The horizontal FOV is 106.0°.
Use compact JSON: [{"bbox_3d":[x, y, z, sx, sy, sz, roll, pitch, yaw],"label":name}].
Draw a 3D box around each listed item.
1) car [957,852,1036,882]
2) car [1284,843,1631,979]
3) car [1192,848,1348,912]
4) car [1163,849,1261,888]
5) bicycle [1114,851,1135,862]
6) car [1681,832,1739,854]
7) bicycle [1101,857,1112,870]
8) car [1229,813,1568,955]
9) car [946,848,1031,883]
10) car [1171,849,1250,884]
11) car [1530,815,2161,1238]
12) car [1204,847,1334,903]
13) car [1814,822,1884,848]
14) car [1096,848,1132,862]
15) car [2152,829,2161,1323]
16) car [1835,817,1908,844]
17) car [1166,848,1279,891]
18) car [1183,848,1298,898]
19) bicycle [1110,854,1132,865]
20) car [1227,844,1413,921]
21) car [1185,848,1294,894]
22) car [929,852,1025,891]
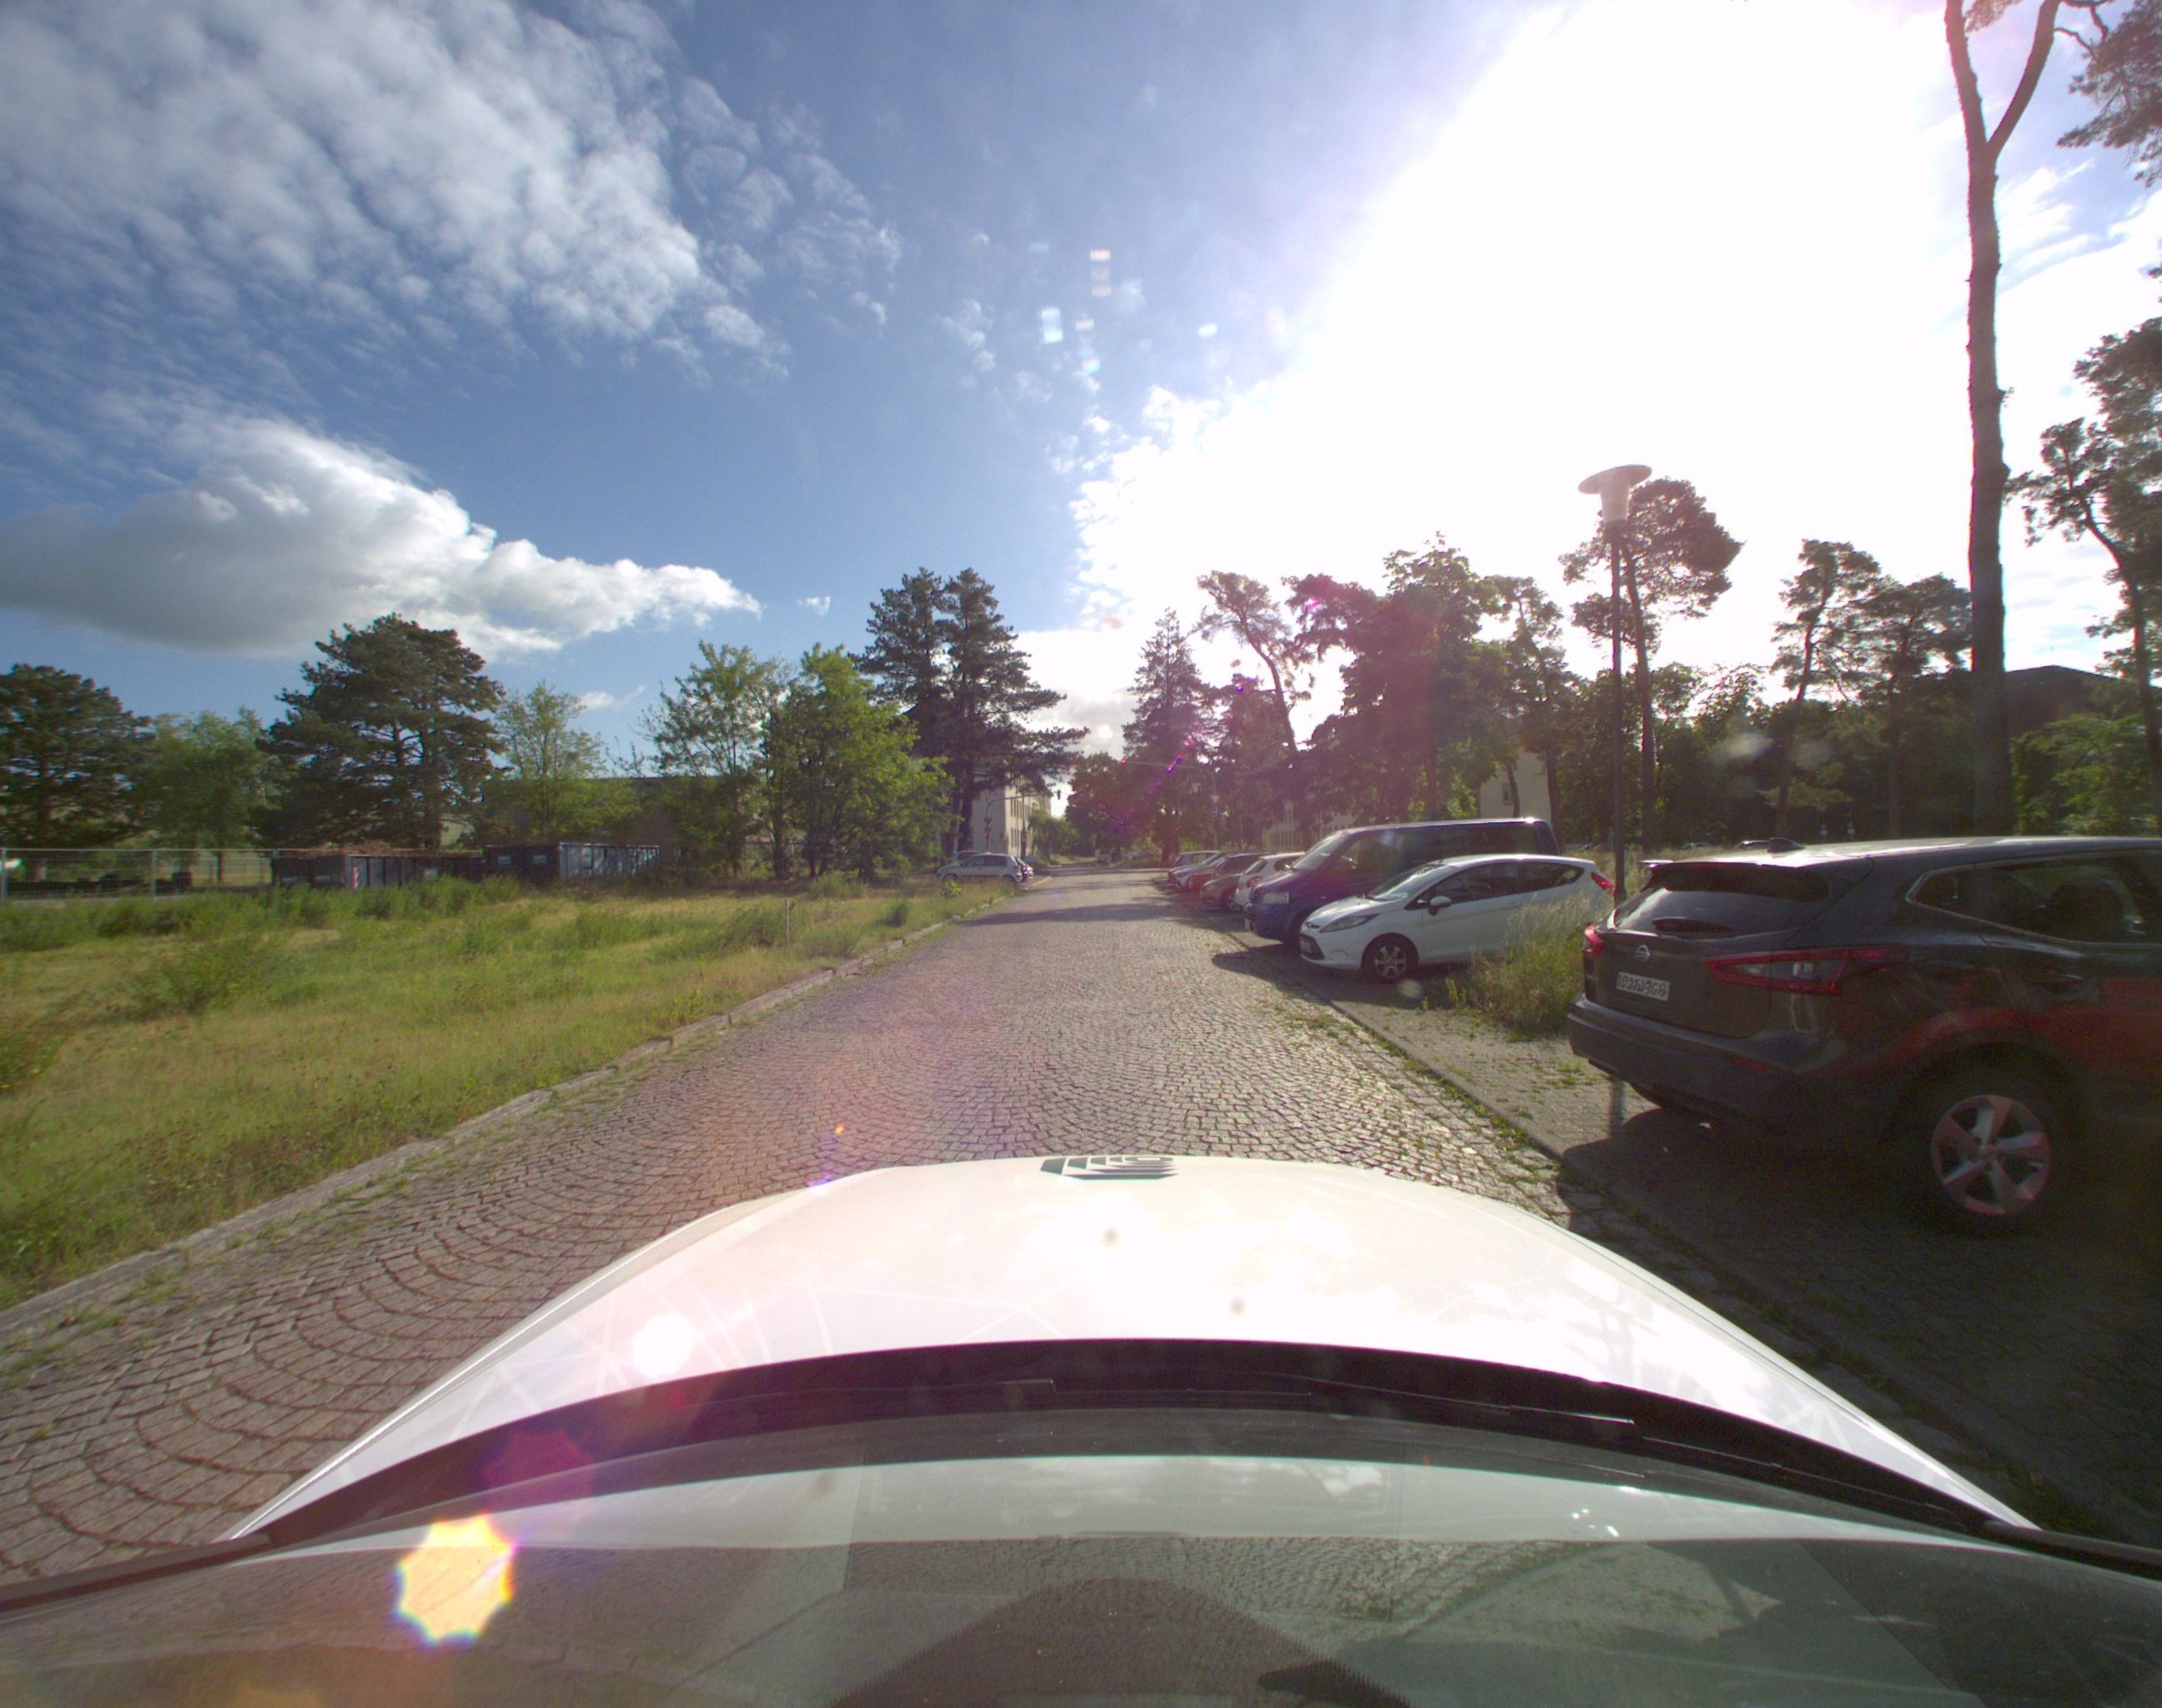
[{"bbox_3d":[-4.536,0.668,44.019,3.973,1.453,2.000,2,0,1],"label":"car"},{"bbox_3d":[4.684,0.673,10.495,3.708,1.488,1.645,-2,0,-1],"label":"car"},{"bbox_3d":[4.856,0.656,21.241,3.663,1.467,1.645,-2,0,0],"label":"car"},{"bbox_3d":[5.435,0.589,34.159,3.823,1.529,1.645,-1,0,0],"label":"car"},{"bbox_3d":[4.666,0.258,87.007,2.172,1.100,0.805,-1,0,-9],"label":"bicycle"},{"bbox_3d":[60.303,-1.036,78.076,3.972,2.013,2.001,-1,0,1],"label":"car"},{"bbox_3d":[2.592,0.961,82.416,0.803,1.169,2.177,-3,0,-4],"label":"bicycle"},{"bbox_3d":[4.927,0.435,13.170,4.664,2.013,2.082,-1,0,-2],"label":"car"},{"bbox_3d":[-4.680,0.577,41.619,3.973,1.601,2.000,2,0,1],"label":"car"},{"bbox_3d":[5.816,0.549,36.793,3.332,1.482,1.645,-1,0,0],"label":"car"},{"bbox_3d":[4.696,0.642,4.072,3.923,1.621,1.772,-1,0,0],"label":"car"},{"bbox_3d":[5.509,0.602,24.149,3.466,1.529,1.645,-1,0,0],"label":"car"},{"bbox_3d":[64.201,-1.588,68.145,3.972,2.013,2.001,-1,0,1],"label":"car"},{"bbox_3d":[4.207,0.124,103.330,4.465,1.728,2.000,-1,0,1],"label":"car"},{"bbox_3d":[4.854,0.664,1.414,3.748,1.530,1.646,-1,0,2],"label":"car"},{"bbox_3d":[64.044,-1.889,66.053,3.972,2.013,2.001,-1,0,1],"label":"car"},{"bbox_3d":[5.403,0.576,31.387,4.024,1.529,1.644,-1,0,-2],"label":"car"},{"bbox_3d":[5.210,0.596,26.848,3.466,1.529,1.645,-1,0,0],"label":"car"},{"bbox_3d":[4.186,0.555,85.848,2.172,1.100,0.805,-1,0,-9],"label":"bicycle"},{"bbox_3d":[5.283,0.610,18.344,3.680,1.465,1.646,-3,0,2],"label":"car"},{"bbox_3d":[5.624,0.580,29.199,3.591,1.529,1.645,-1,0,0],"label":"car"},{"bbox_3d":[-4.560,0.737,36.224,3.976,1.600,1.999,-1,0,-1],"label":"car"}]
